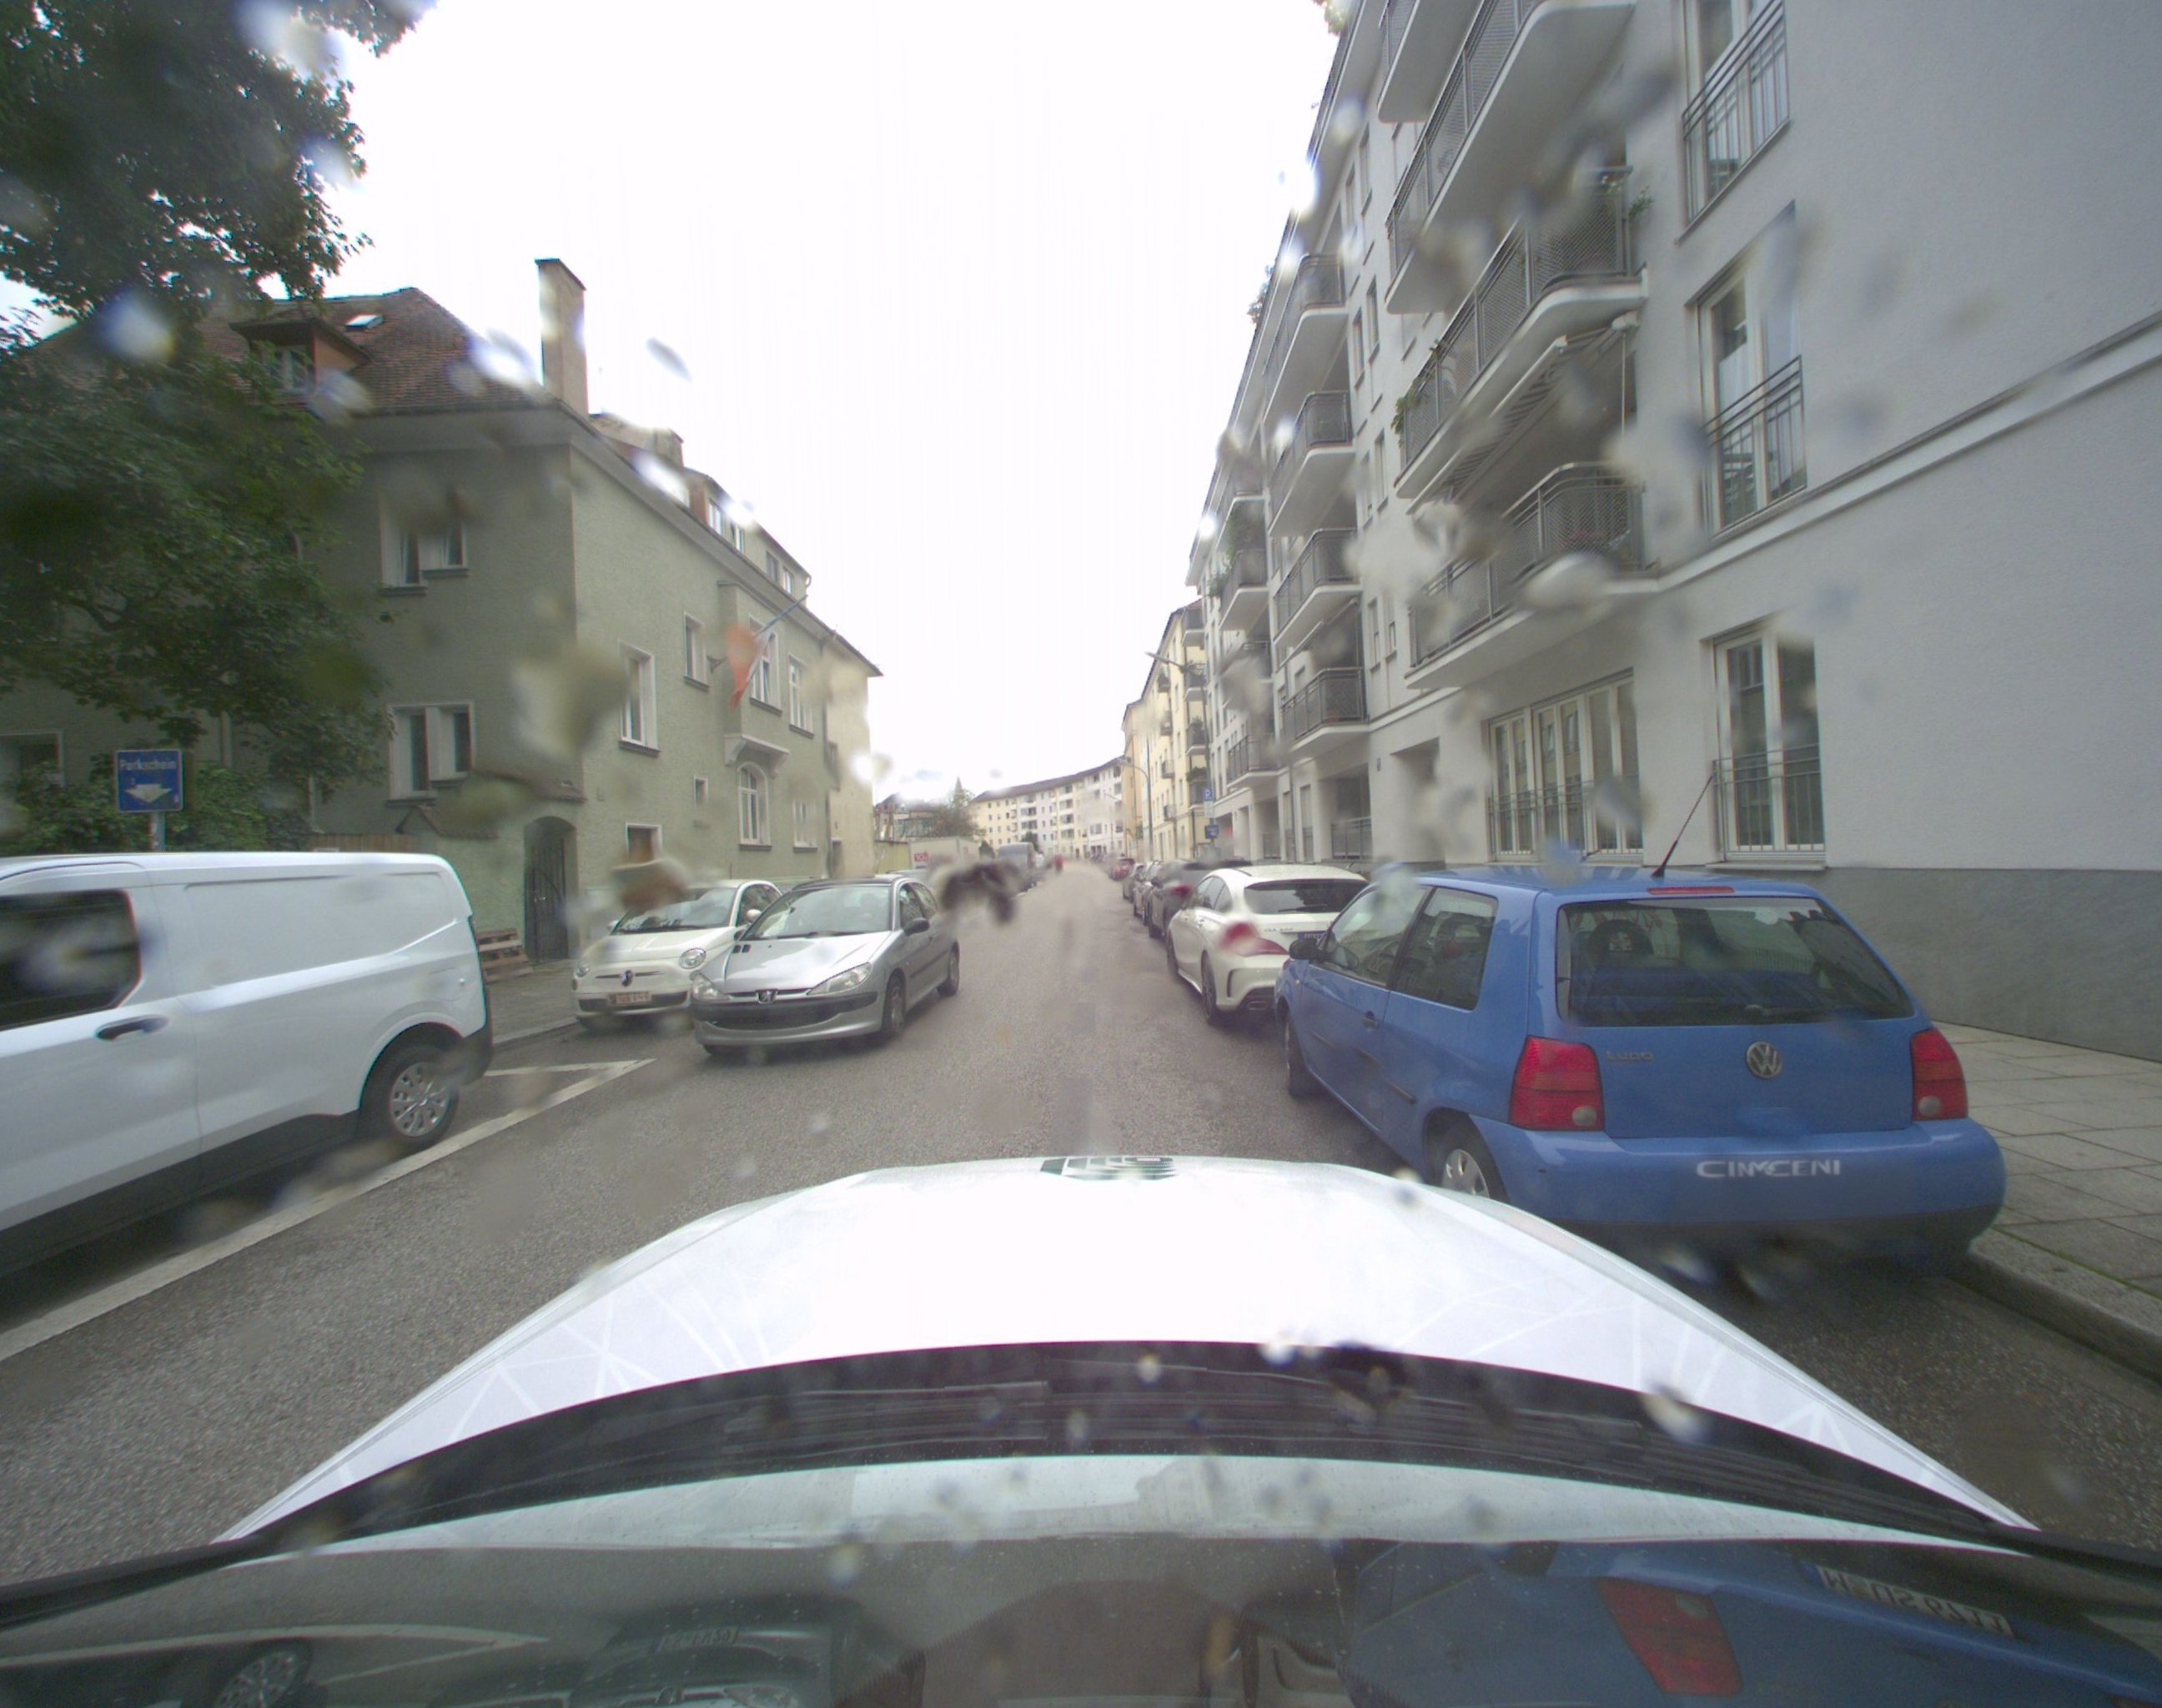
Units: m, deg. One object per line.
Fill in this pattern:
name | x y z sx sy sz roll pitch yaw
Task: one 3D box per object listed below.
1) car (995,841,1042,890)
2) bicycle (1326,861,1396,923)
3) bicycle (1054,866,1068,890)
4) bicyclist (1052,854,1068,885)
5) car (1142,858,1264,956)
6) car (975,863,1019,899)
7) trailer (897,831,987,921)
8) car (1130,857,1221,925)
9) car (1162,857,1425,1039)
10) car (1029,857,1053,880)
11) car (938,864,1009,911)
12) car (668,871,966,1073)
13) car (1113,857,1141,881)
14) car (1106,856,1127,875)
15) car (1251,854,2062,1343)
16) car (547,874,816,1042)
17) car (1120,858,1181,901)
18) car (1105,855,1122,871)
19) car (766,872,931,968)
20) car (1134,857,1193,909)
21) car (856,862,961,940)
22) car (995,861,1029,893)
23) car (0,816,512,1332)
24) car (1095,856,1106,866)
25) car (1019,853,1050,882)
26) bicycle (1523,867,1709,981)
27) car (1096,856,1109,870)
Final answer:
car | -3.614 0.610 48.043 2.080 2.636 5.380 -3 0 2
bicycle | 5.749 0.752 16.856 0.625 1.160 2.126 -3 0 -1
bicycle | -1.040 1.245 42.713 0.502 1.128 1.775 -4 0 3
bicyclist | -1.090 0.781 42.683 0.691 1.561 0.967 -4 0 3
car | 2.087 0.847 14.860 1.599 1.530 3.983 0 0 -1
car | -3.862 1.206 37.903 1.696 1.445 3.822 -2 0 -2
trailer | -4.252 0.643 25.648 1.702 2.461 4.389 -4 0 3
car | 2.272 0.837 20.650 1.729 1.530 4.620 0 0 -1
car | 1.907 0.760 8.597 1.653 1.440 4.205 0 0 -1
car | -3.325 1.204 67.706 1.696 1.691 4.027 -4 0 0
car | -4.037 1.226 31.360 1.759 1.538 4.544 -5 -1 3
car | -2.259 0.930 7.962 1.575 1.411 3.614 -3 -1 2
car | 3.037 0.981 54.279 1.590 1.509 3.801 -3 0 1
car | 3.031 0.958 70.135 1.594 1.491 3.798 -2 0 -1
car | 2.076 0.731 4.180 1.614 1.412 3.551 0 -1 -1
car | -4.427 1.049 9.590 1.469 1.466 3.312 -4 0 -1
car | 2.519 0.910 30.343 1.759 1.408 4.075 -2 -1 -2
car | 3.582 0.959 89.429 1.586 1.582 4.297 -1 0 -1
car | -4.226 1.141 15.587 1.855 1.412 4.332 -5 -1 -1
car | 2.586 0.879 26.213 1.514 1.530 3.526 -1 0 0
car | -4.192 1.074 20.348 1.681 1.603 3.920 -4 0 0
car | -3.586 1.188 42.874 1.582 1.538 3.539 -3 -1 -3
car | -4.661 0.826 3.300 1.685 1.803 4.144 -4 0 0
car | 2.637 0.900 111.179 1.268 1.299 2.796 -2 0 -1
car | -3.419 0.997 60.727 1.876 1.931 4.601 -4 0 0
bicycle | 5.476 0.683 8.500 0.675 1.028 1.834 -3 -2 0
car | 2.591 1.075 99.440 1.469 1.641 3.999 -1 0 -1
